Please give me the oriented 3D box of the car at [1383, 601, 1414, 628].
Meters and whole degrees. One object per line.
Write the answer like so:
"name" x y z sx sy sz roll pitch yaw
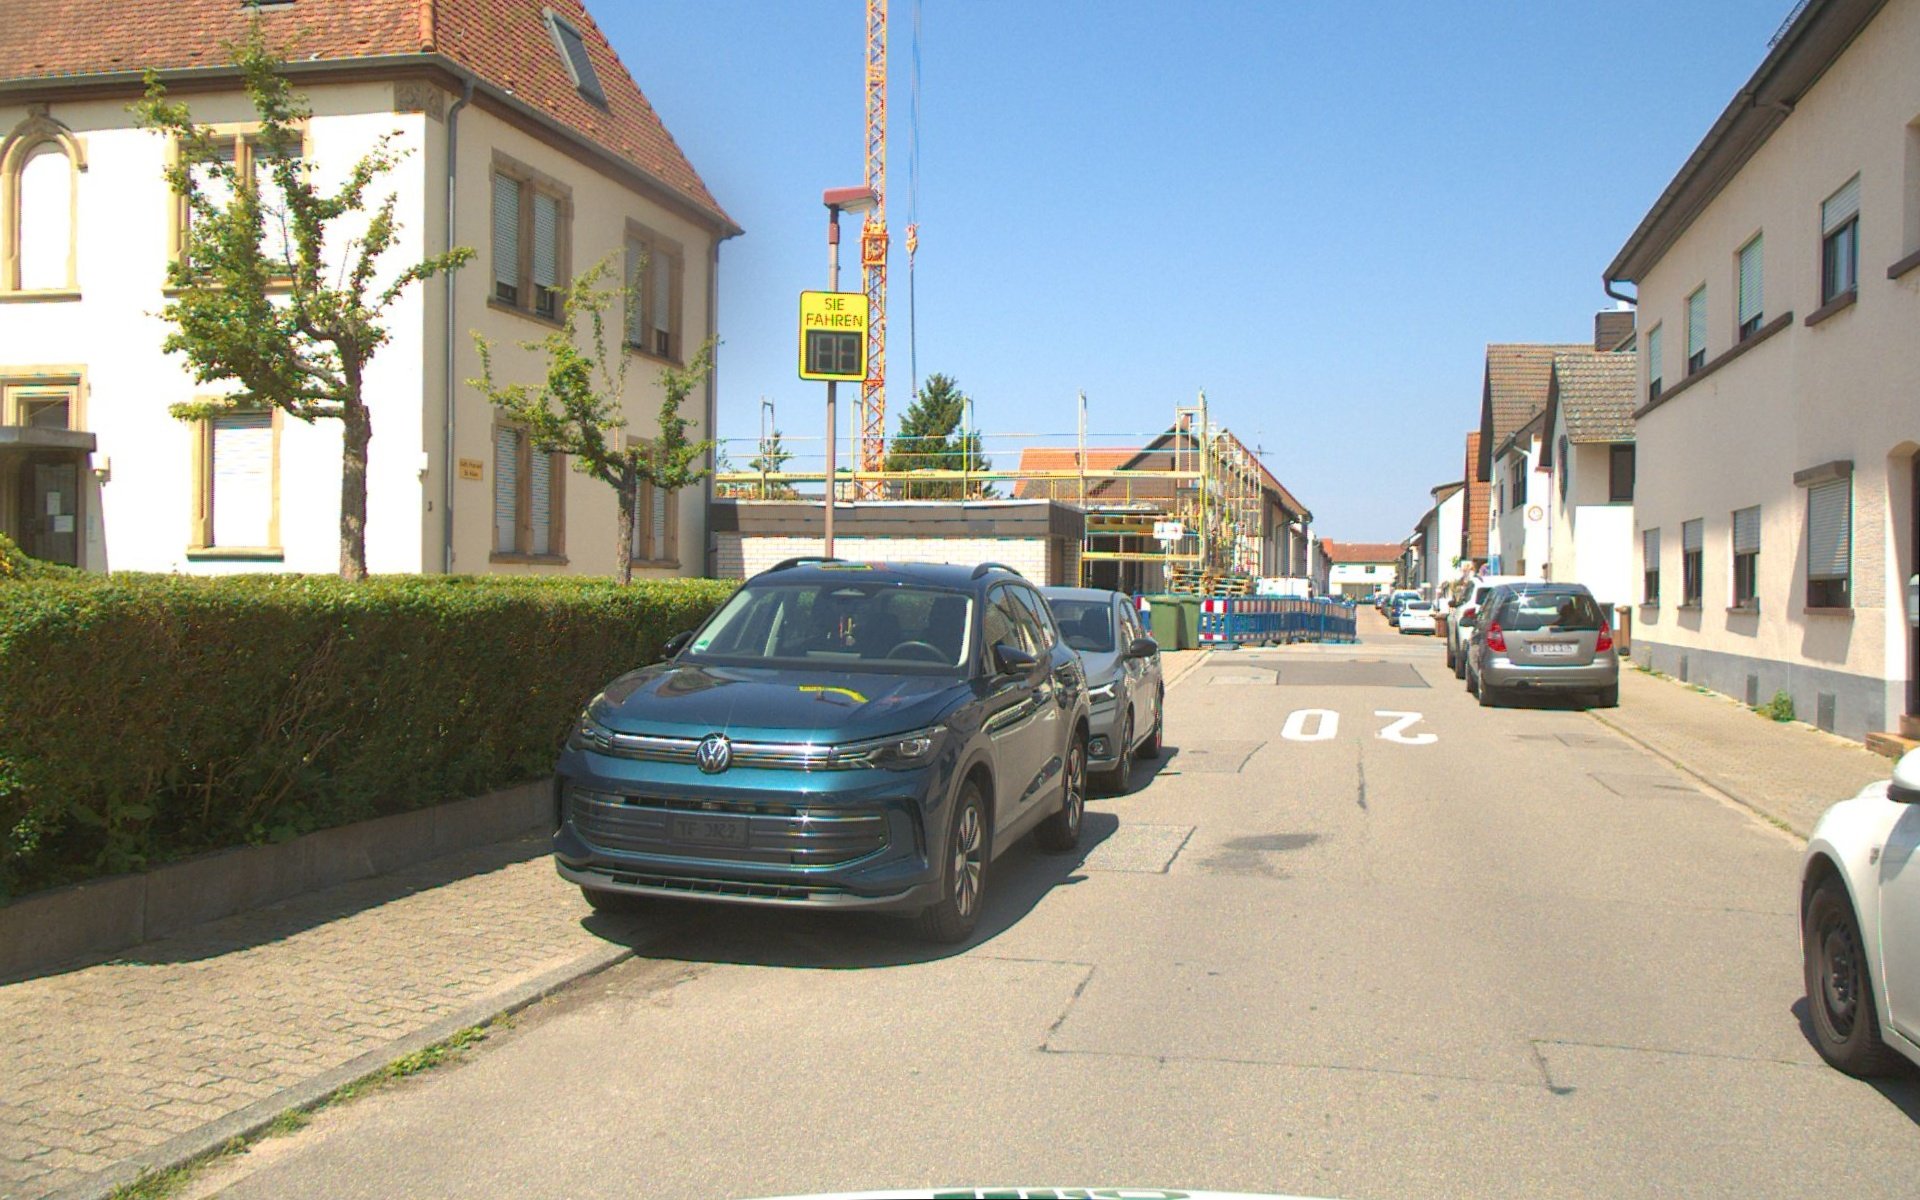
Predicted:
"car" 24.785 0.803 93.472 1.522 1.411 3.453 1 1 12

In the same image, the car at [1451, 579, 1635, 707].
"car" 7.989 0.529 22.997 1.844 1.583 3.898 1 1 11

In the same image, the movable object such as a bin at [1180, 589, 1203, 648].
"movable object such as a bin" 4.633 0.372 33.118 0.422 1.176 0.365 0 0 4

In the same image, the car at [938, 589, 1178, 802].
"car" 0.935 0.682 13.697 1.405 1.500 3.789 0 0 12

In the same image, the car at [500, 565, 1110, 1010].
"car" -0.459 0.693 8.478 1.787 1.659 4.220 1 0 14

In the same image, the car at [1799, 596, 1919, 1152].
"car" 3.422 0.785 3.616 1.846 1.569 4.246 1 0 13

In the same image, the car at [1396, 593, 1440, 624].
"car" 21.792 0.385 78.757 1.926 1.411 4.003 1 1 14

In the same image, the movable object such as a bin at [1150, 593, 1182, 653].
"movable object such as a bin" 4.081 0.445 32.759 0.608 1.176 0.678 1 0 7

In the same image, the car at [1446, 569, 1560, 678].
"car" 9.142 0.335 28.057 1.531 1.641 3.546 1 2 13
